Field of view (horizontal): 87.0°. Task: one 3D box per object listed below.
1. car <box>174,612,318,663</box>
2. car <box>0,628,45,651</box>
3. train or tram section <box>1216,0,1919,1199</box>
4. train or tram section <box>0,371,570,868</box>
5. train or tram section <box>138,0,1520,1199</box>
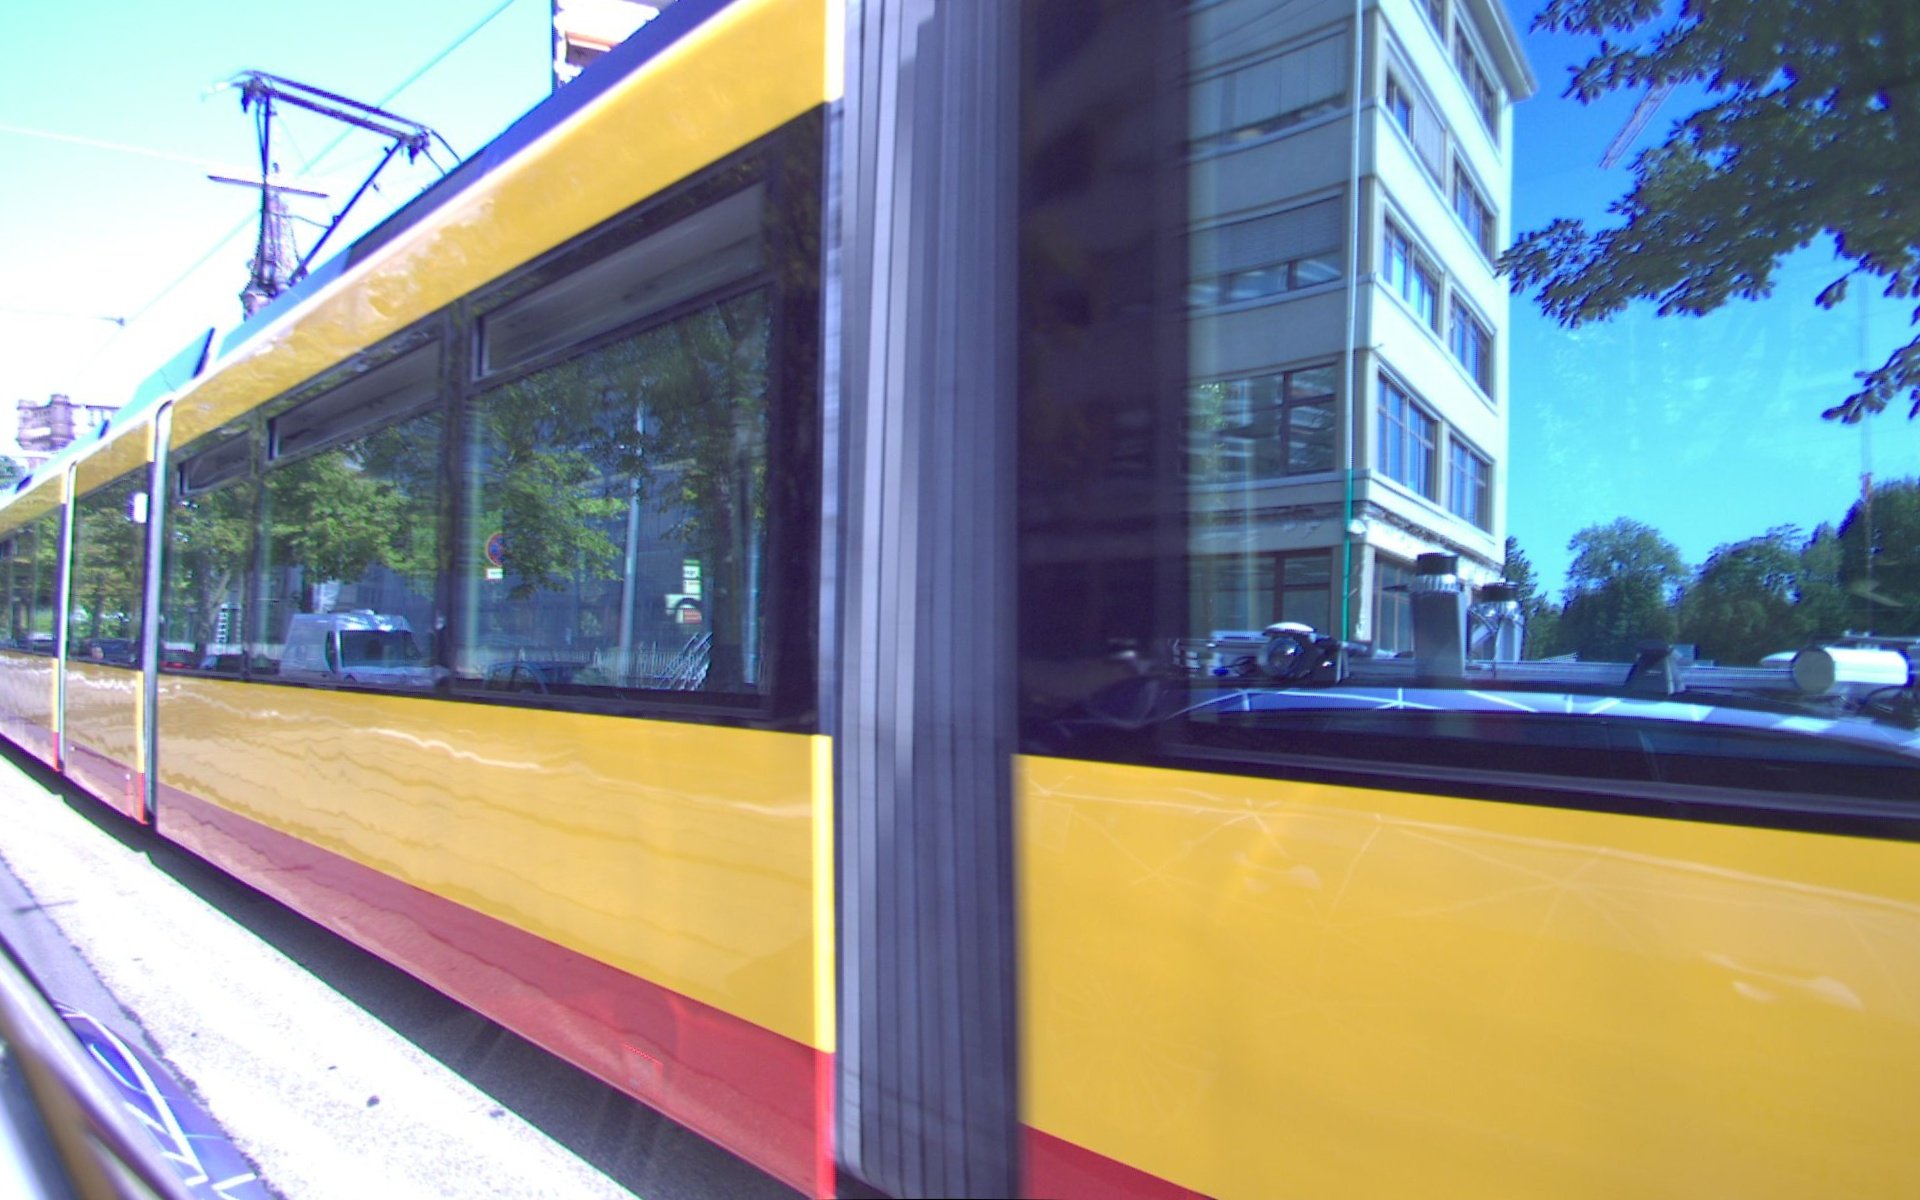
[{"bbox_3d":[-25.007,1.271,35.611,1.770,1.490,3.986,-2,1,11],"label":"car"},{"bbox_3d":[-82.735,3.491,88.116,1.956,1.657,4.351,-2,3,42],"label":"car"},{"bbox_3d":[2.589,-0.071,1.150,3.647,2.878,2.677,-2,-2,41],"label":"train or tram section"},{"bbox_3d":[-9.743,0.282,12.085,15.448,2.916,2.700,-2,-2,41],"label":"train or tram section"},{"bbox_3d":[-1.400,0.039,4.685,6.540,2.871,2.700,-2,-2,41],"label":"train or tram section"}]
